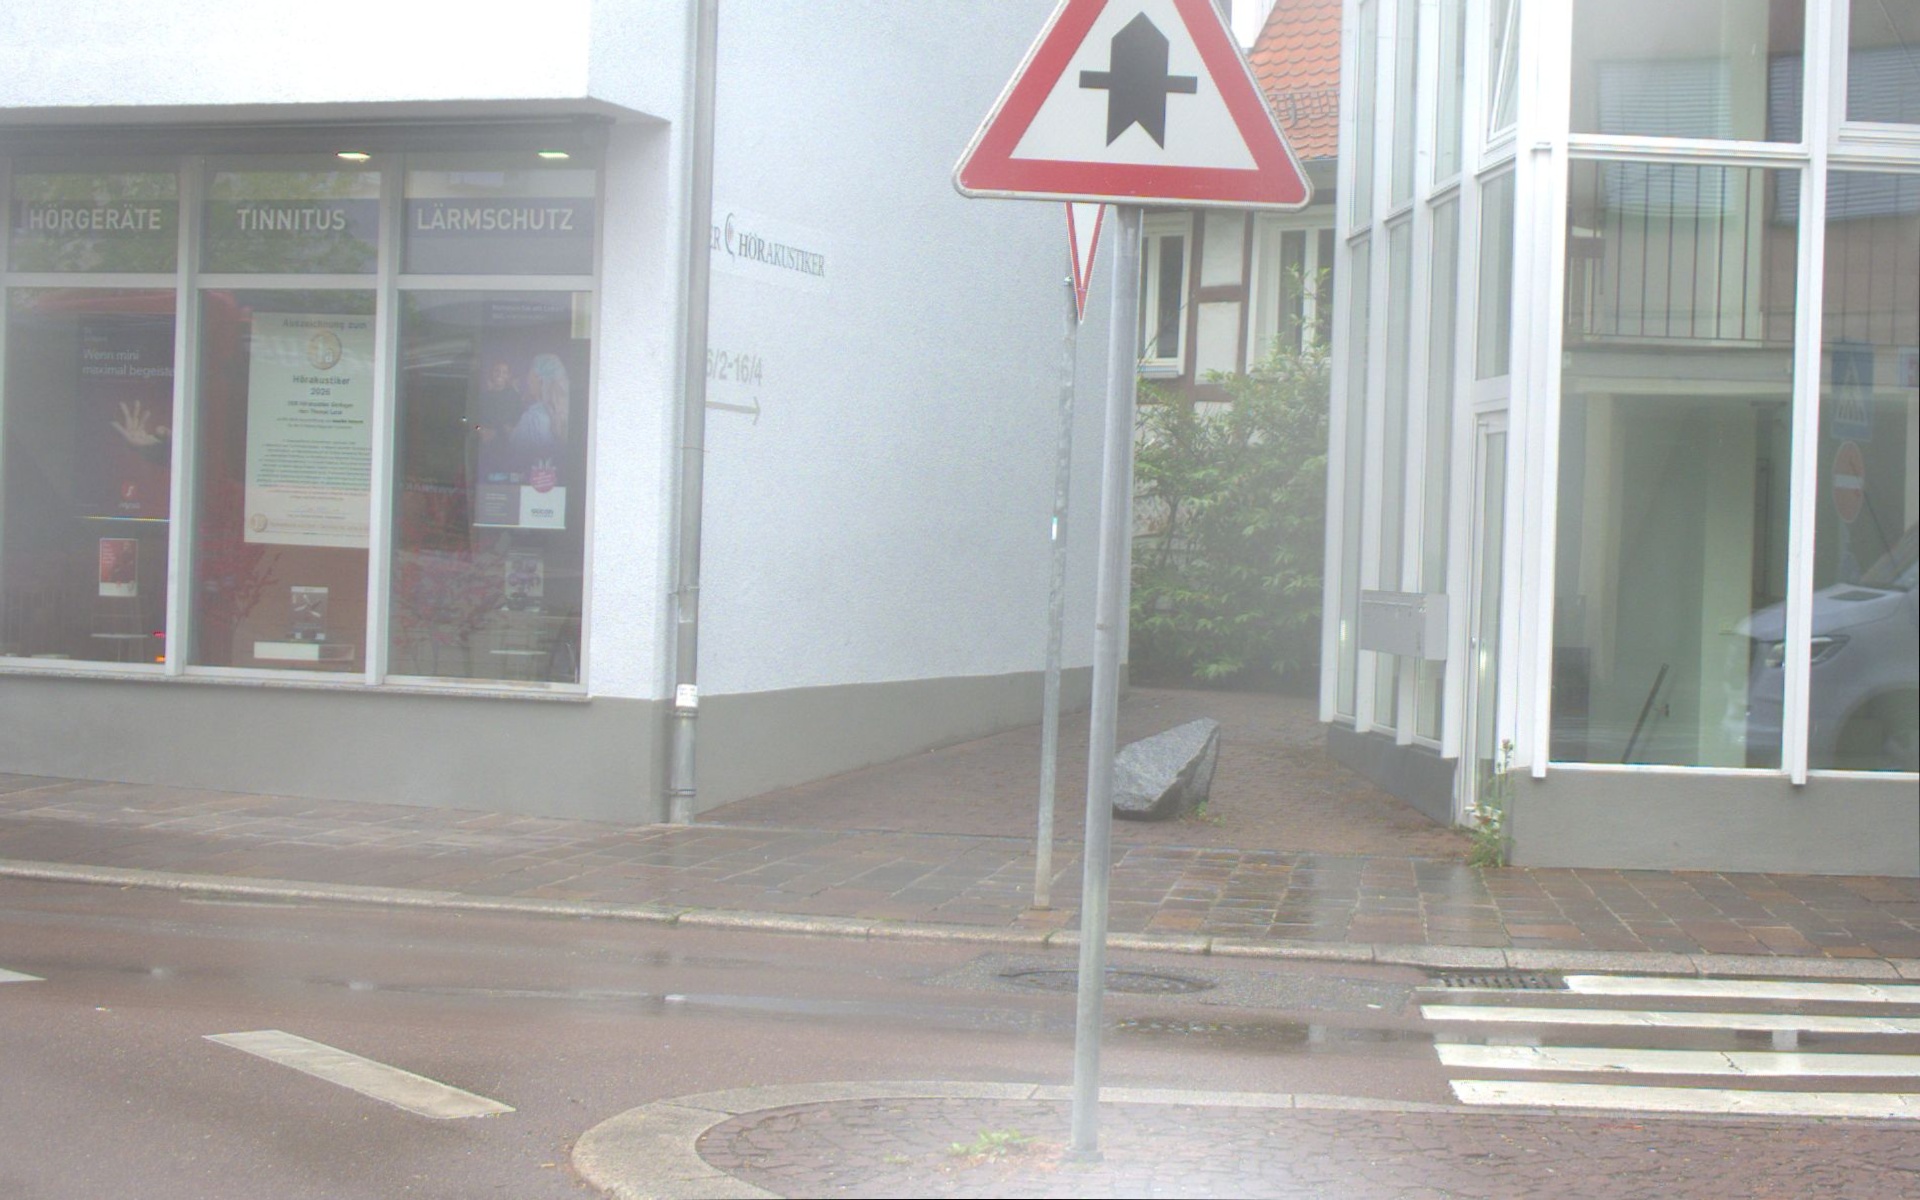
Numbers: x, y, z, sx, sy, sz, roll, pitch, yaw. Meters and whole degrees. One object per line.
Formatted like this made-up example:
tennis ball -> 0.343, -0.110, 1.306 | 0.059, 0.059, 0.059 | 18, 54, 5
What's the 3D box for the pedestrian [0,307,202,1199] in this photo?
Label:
pedestrian -> -1.590, 0.529, 4.255 | 0.665, 1.800, 1.059 | 2, 1, 36
